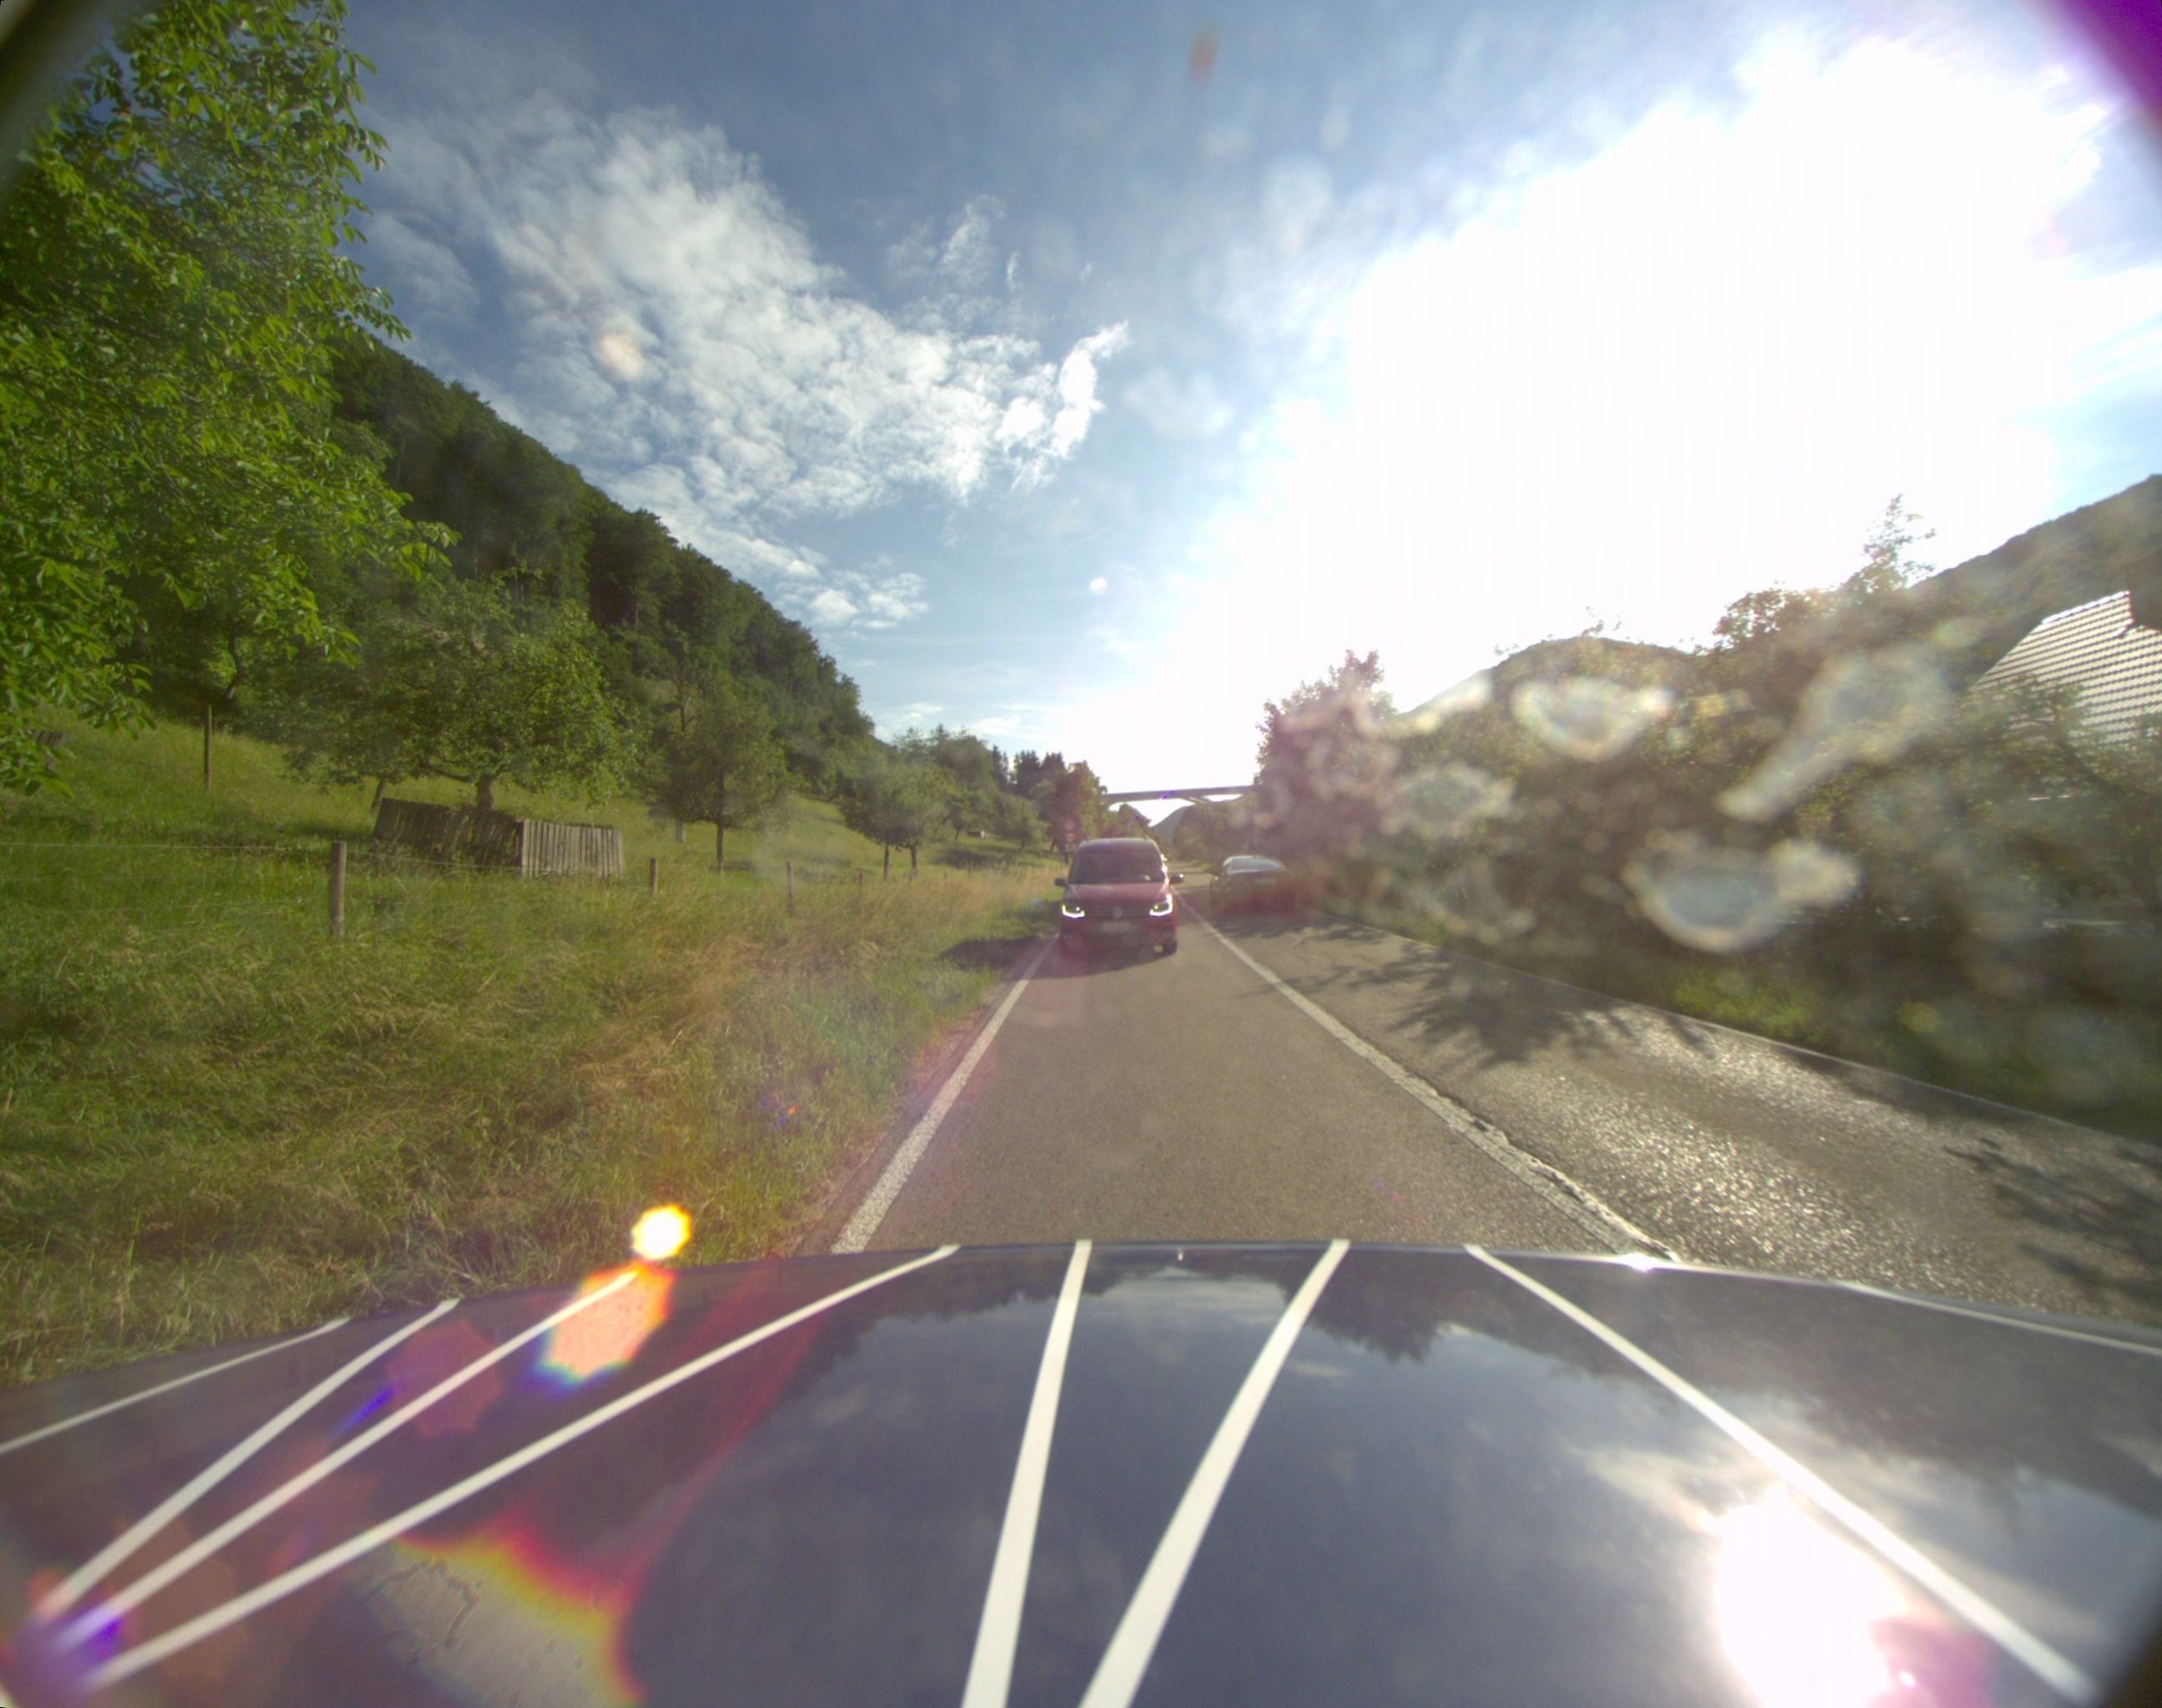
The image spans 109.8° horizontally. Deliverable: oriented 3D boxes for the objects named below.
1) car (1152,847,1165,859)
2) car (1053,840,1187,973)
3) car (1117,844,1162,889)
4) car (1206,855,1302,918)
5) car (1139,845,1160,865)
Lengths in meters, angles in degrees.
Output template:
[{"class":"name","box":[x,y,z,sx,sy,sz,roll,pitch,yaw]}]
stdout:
[{"class":"car","box":[12.838,-0.171,125.556,1.998,2.002,4.001,-2,1,4]},{"class":"car","box":[0.622,0.686,12.511,1.759,1.745,4.430,-2,1,2]},{"class":"car","box":[2.506,0.496,32.856,1.759,1.745,4.000,-2,1,3]},{"class":"car","box":[4.349,0.754,19.734,1.598,1.346,4.203,-2,1,1]},{"class":"car","box":[7.239,0.112,80.567,1.998,2.002,4.000,-2,1,3]}]
